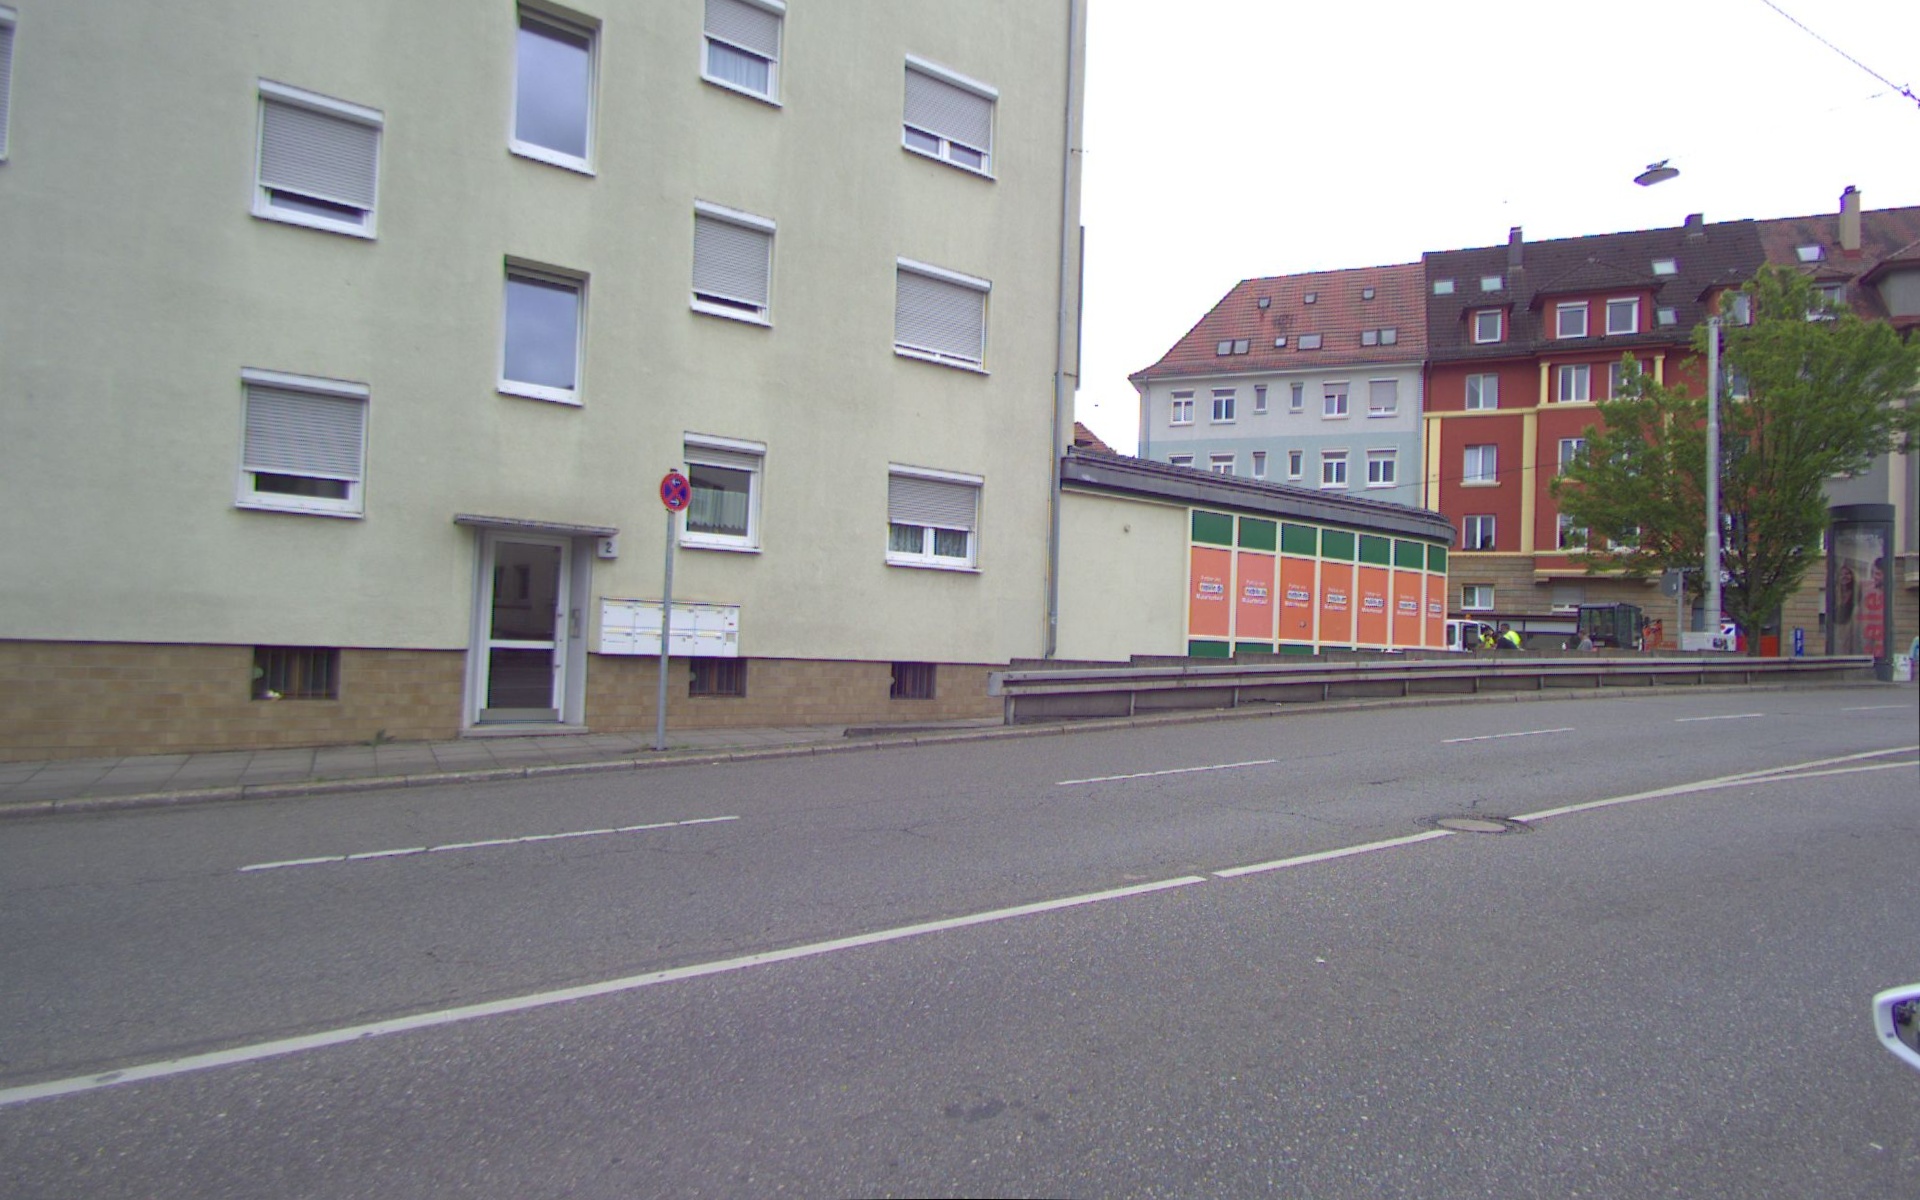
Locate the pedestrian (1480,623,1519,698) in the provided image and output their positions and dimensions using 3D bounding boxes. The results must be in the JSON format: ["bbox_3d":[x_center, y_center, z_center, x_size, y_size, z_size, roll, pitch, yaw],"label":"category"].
[{"bbox_3d":[13.347,1.487,24.848,0.605,1.785,0.573,2,1,5],"label":"pedestrian"}]

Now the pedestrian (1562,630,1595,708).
[{"bbox_3d":[14.369,1.587,23.355,0.533,1.753,0.593,3,1,26],"label":"pedestrian"}]

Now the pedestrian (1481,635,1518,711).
[{"bbox_3d":[12.670,1.708,23.594,0.539,1.722,0.557,1,1,-41],"label":"pedestrian"}]

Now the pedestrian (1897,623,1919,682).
[{"bbox_3d":[26.230,1.445,27.549,0.480,1.588,0.586,2,1,-30],"label":"pedestrian"}]

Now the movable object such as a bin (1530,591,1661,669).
[{"bbox_3d":[16.342,0.734,25.762,3.972,1.795,1.884,1,1,-43],"label":"movable object such as a bin"}]

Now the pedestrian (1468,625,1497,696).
[{"bbox_3d":[13.468,1.549,25.895,0.467,1.753,0.543,2,1,14],"label":"pedestrian"}]
